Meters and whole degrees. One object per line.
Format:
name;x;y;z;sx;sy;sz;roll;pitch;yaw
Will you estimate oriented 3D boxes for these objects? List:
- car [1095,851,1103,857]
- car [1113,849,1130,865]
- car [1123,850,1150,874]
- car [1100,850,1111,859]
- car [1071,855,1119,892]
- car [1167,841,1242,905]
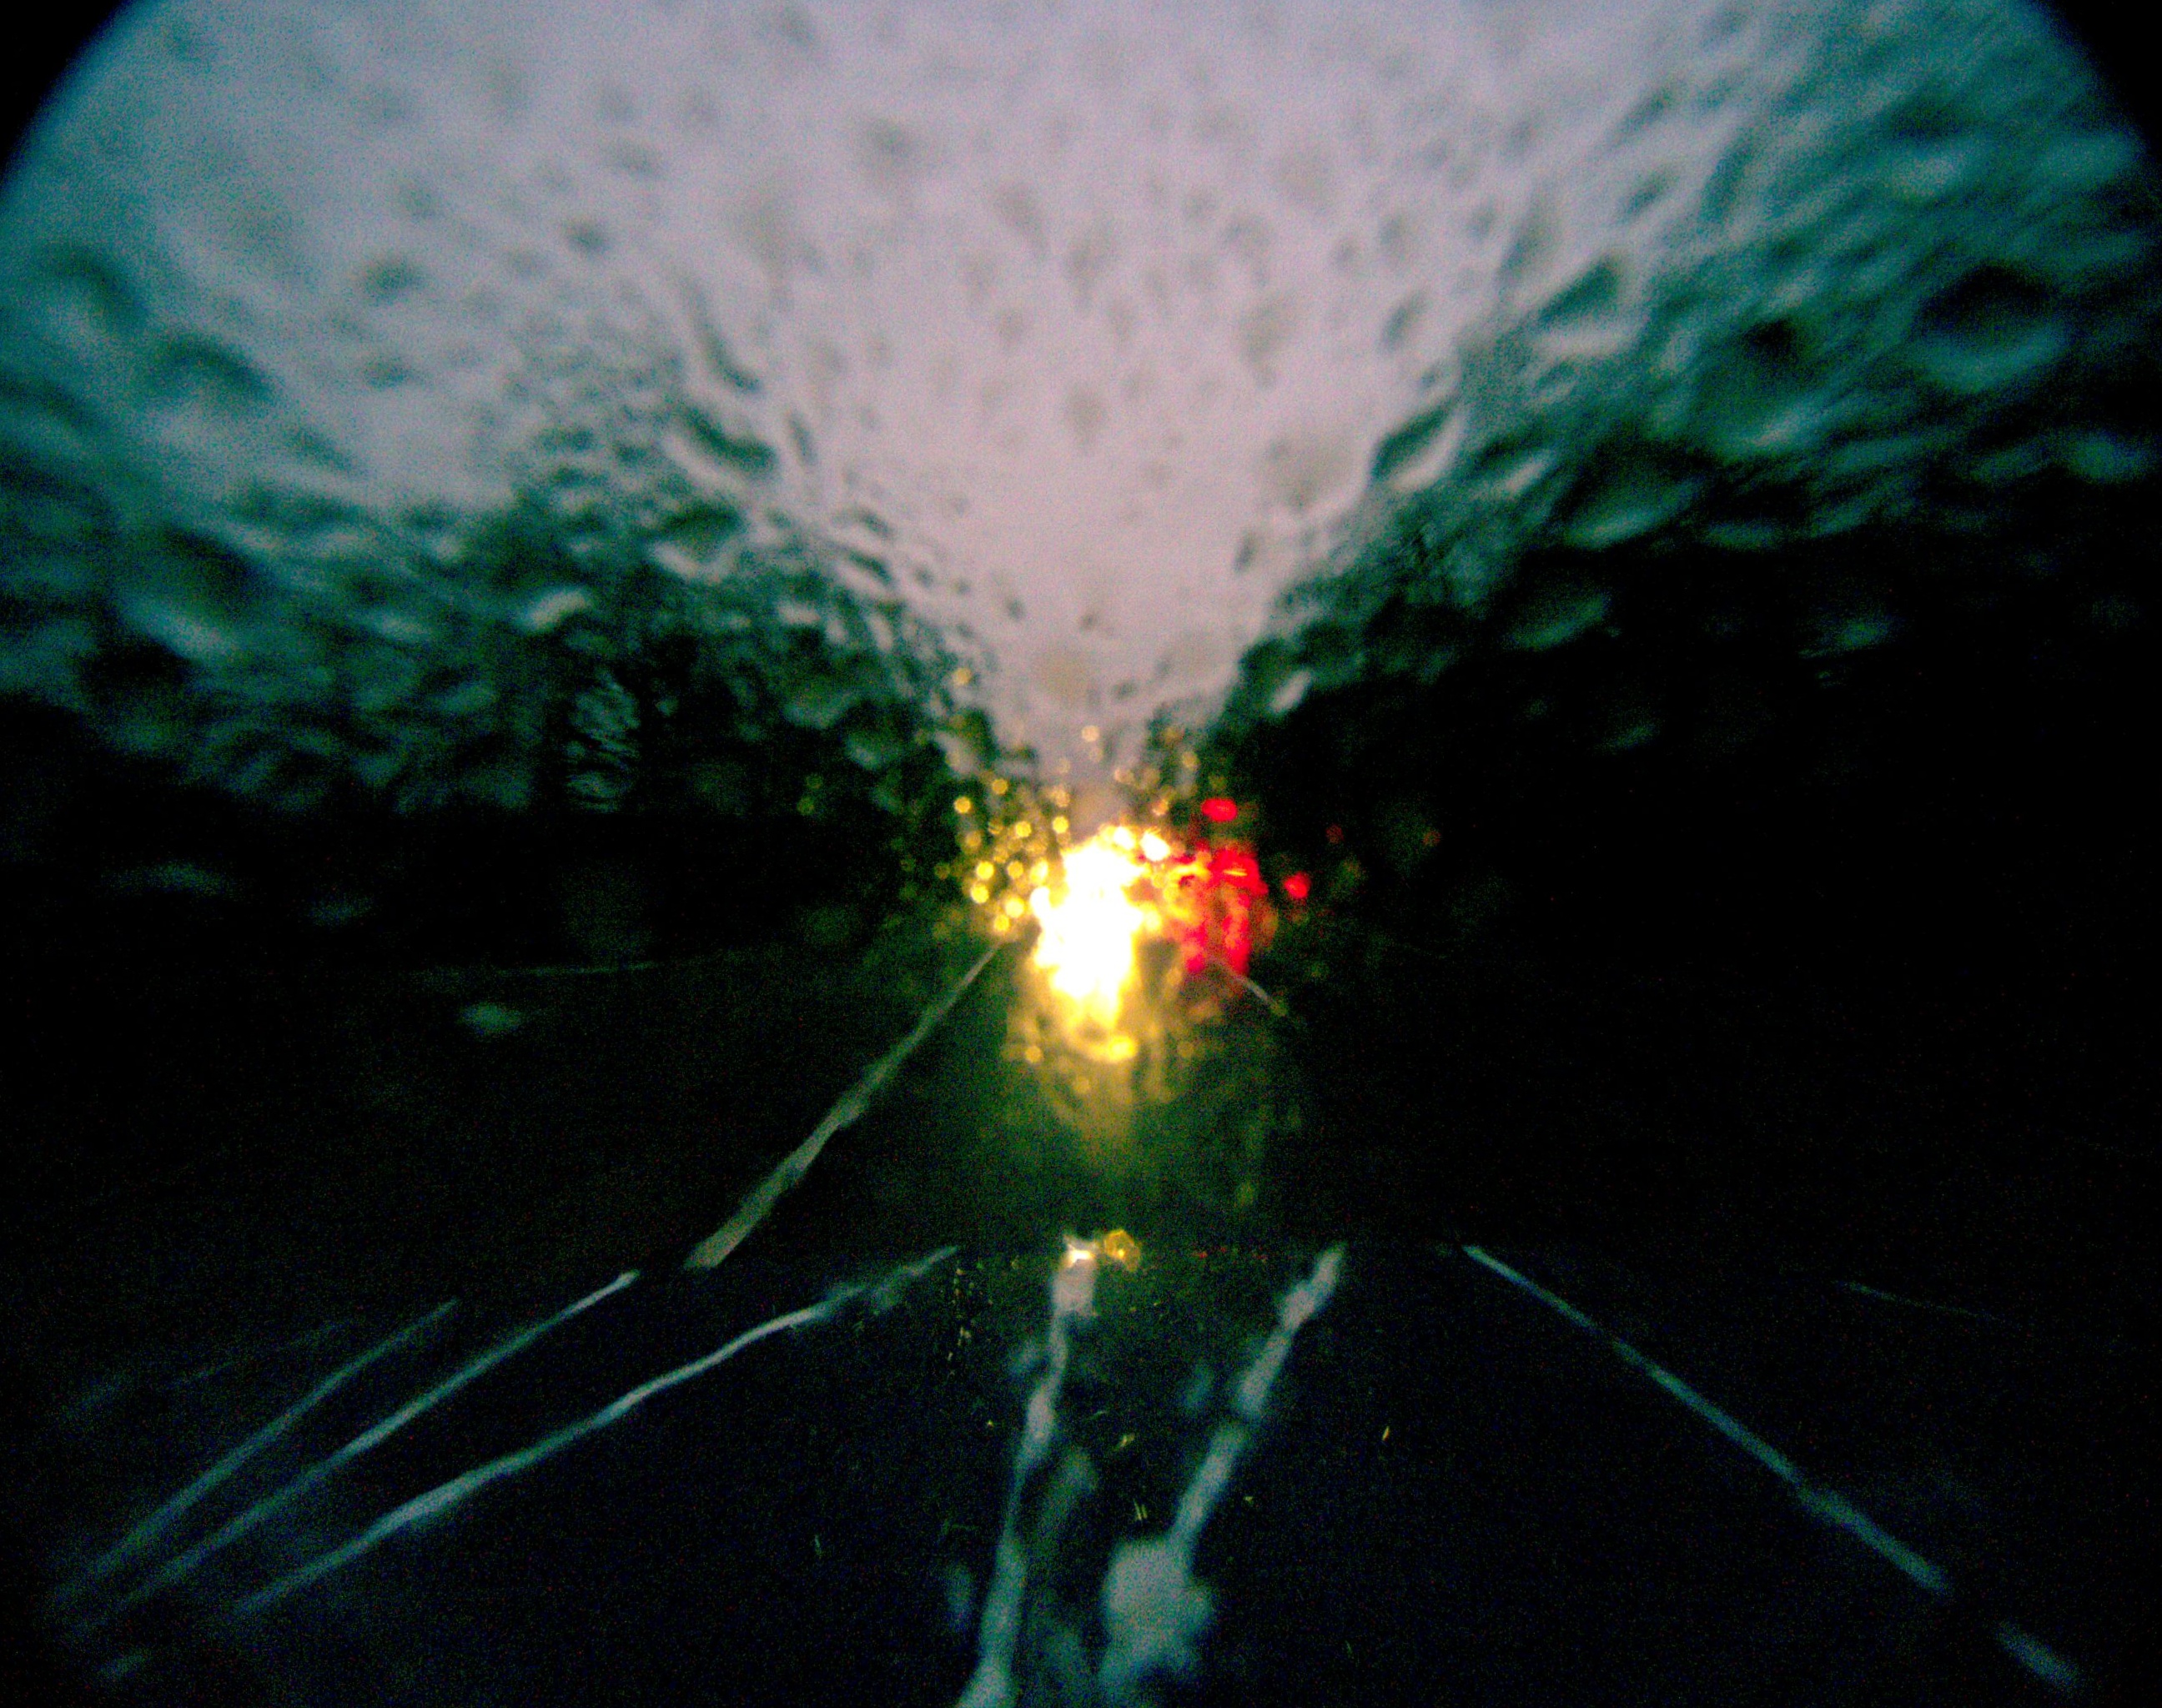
car;4.259;0.011;177.507;1.803;1.453;4.176;0;1;1
car;4.559;0.305;85.274;1.745;1.626;3.999;-1;1;1
car;3.833;0.544;53.232;1.585;1.541;3.999;-1;1;0
car;4.281;0.070;132.800;1.769;1.449;4.507;0;1;0
car;0.566;0.760;31.190;1.845;1.390;4.000;-1;0;1
car;3.803;0.518;24.000;1.710;1.812;4.285;-1;1;0
